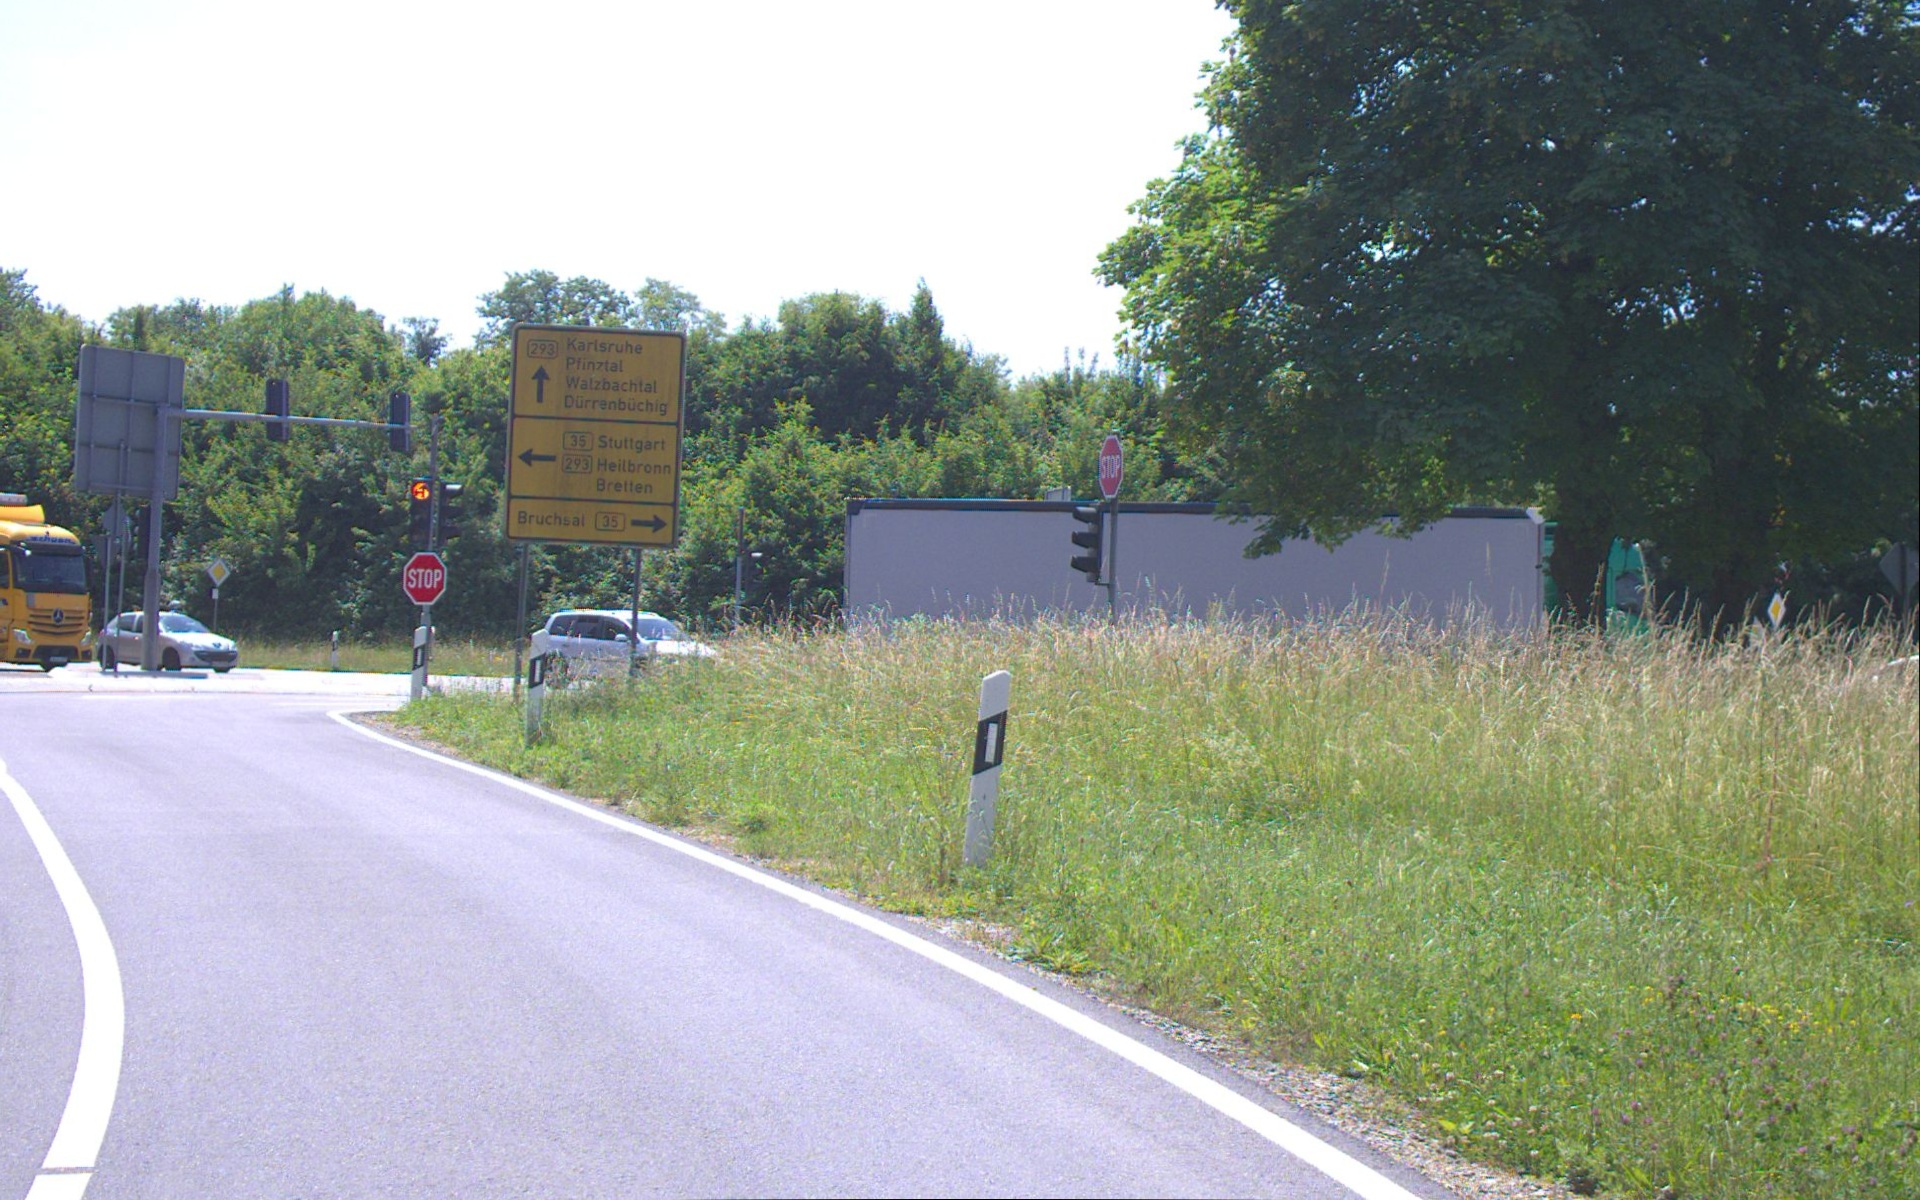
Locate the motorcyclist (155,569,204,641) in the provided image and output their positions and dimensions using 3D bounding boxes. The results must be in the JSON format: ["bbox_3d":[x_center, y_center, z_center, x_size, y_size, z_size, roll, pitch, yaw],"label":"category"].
[{"bbox_3d":[-19.998,0.125,88.113,0.897,1.837,0.838,0,0,29],"label":"motorcyclist"}]

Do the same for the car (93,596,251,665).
[{"bbox_3d":[-18.682,0.699,81.441,3.911,1.570,1.656,0,1,41],"label":"car"}]

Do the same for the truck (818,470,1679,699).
[{"bbox_3d":[5.628,-0.305,68.430,16.632,4.159,3.135,1,0,3],"label":"truck"}]

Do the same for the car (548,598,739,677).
[{"bbox_3d":[-6.576,0.758,71.352,3.685,1.570,1.722,0,0,34],"label":"car"}]

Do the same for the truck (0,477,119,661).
[{"bbox_3d":[-27.222,-0.860,83.199,16.791,4.117,2.846,2,-1,35],"label":"truck"}]

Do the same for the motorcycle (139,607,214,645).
[{"bbox_3d":[-20.090,0.669,88.150,1.869,0.960,0.730,0,0,30],"label":"motorcycle"}]
